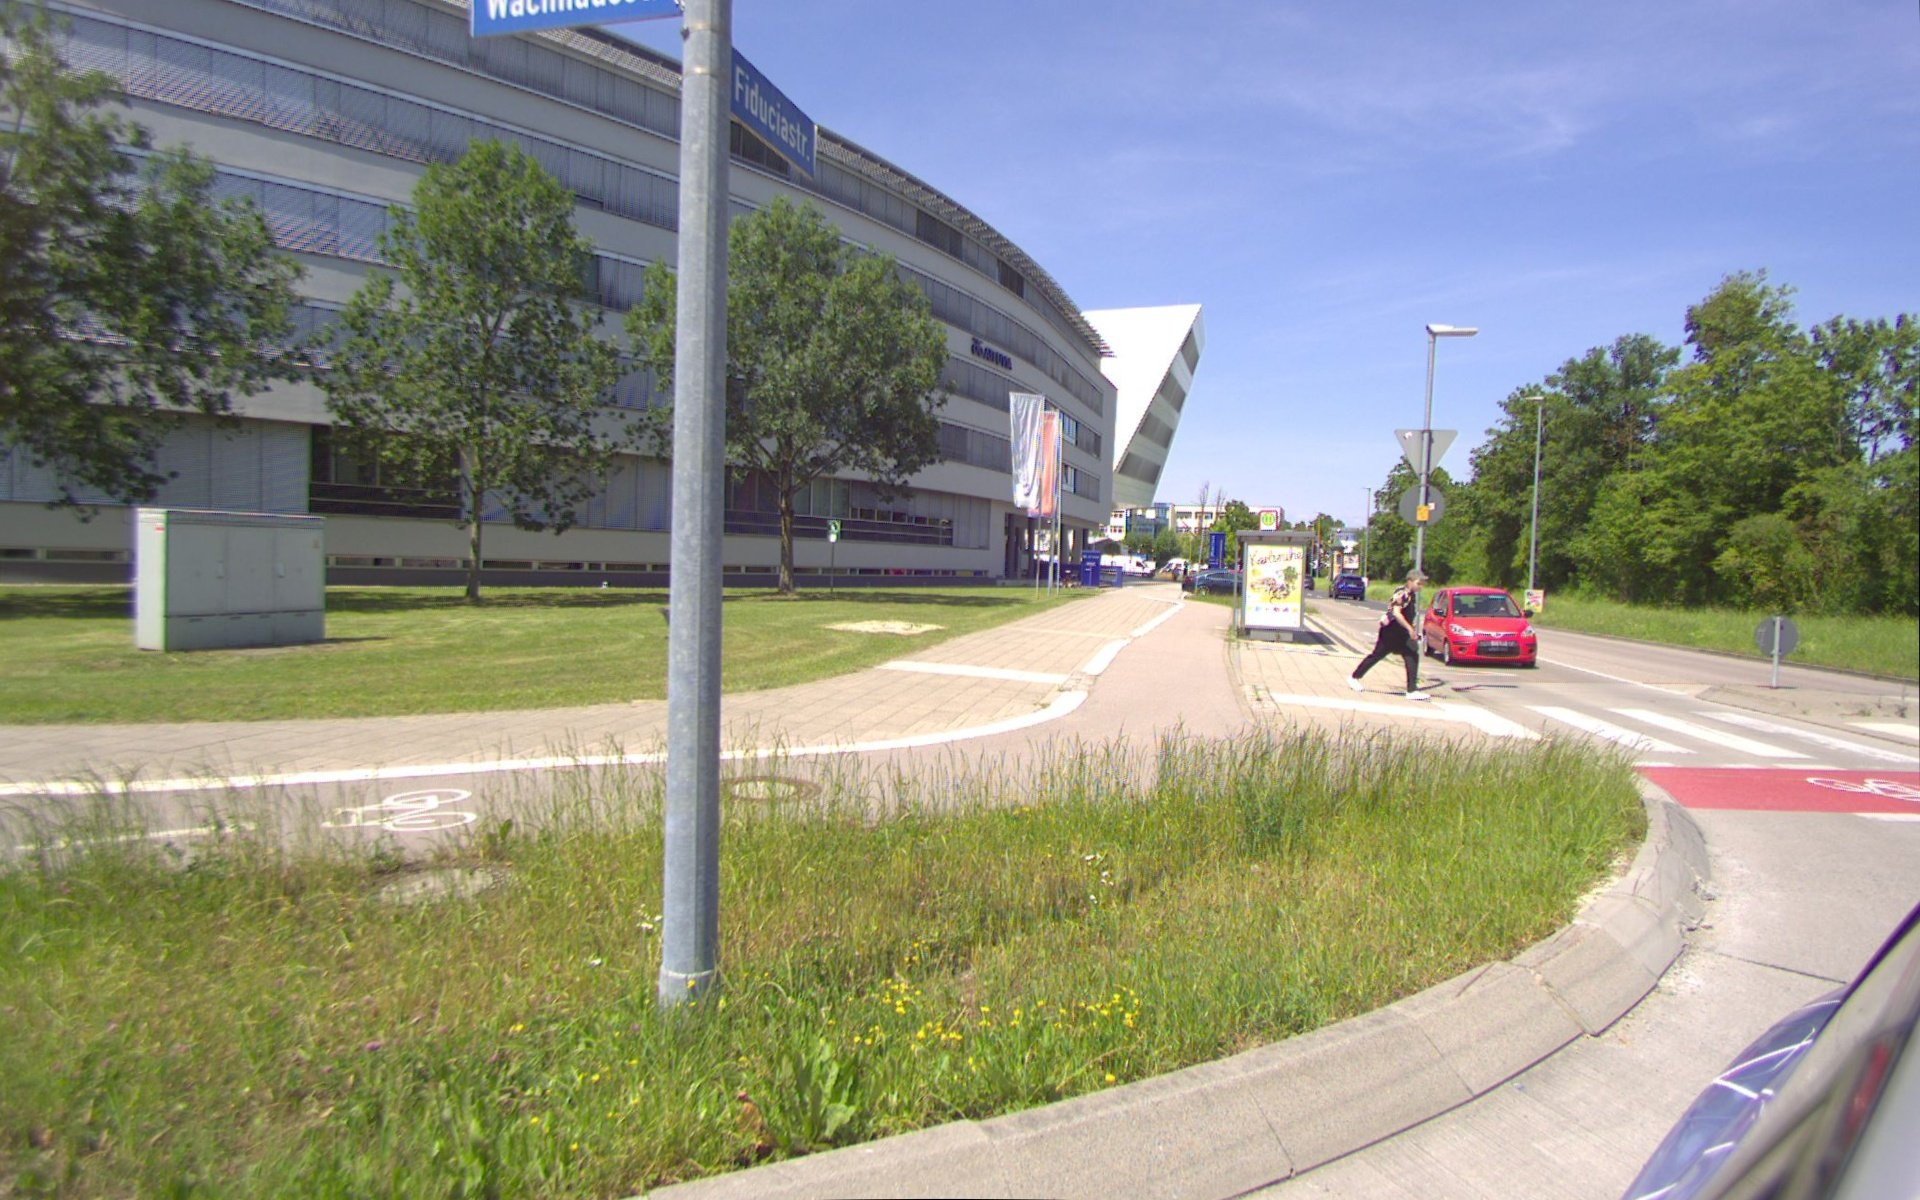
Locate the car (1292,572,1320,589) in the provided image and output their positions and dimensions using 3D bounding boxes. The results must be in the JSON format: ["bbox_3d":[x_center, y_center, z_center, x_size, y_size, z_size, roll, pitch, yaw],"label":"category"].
[{"bbox_3d":[32.090,-1.813,93.884,1.971,1.497,4.272,4,2,13],"label":"car"}]

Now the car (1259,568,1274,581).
[{"bbox_3d":[43.569,-3.633,143.800,1.972,1.651,3.981,1,2,16],"label":"car"}]

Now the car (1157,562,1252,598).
[{"bbox_3d":[12.302,-1.039,51.146,4.515,1.449,1.821,4,3,13],"label":"car"}]

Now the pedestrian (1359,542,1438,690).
[{"bbox_3d":[5.748,0.186,13.324,0.700,1.844,0.823,4,3,14],"label":"pedestrian"}]

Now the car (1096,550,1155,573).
[{"bbox_3d":[20.373,-4.717,124.706,6.893,2.695,2.238,2,2,23],"label":"car"}]

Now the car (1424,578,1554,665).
[{"bbox_3d":[10.664,0.360,20.627,1.640,1.521,3.341,1,2,16],"label":"car"}]

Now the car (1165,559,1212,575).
[{"bbox_3d":[33.757,-4.913,149.506,6.421,2.176,2.150,2,2,21],"label":"car"}]

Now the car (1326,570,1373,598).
[{"bbox_3d":[25.015,-1.004,65.179,1.968,1.616,4.309,3,1,11],"label":"car"}]
